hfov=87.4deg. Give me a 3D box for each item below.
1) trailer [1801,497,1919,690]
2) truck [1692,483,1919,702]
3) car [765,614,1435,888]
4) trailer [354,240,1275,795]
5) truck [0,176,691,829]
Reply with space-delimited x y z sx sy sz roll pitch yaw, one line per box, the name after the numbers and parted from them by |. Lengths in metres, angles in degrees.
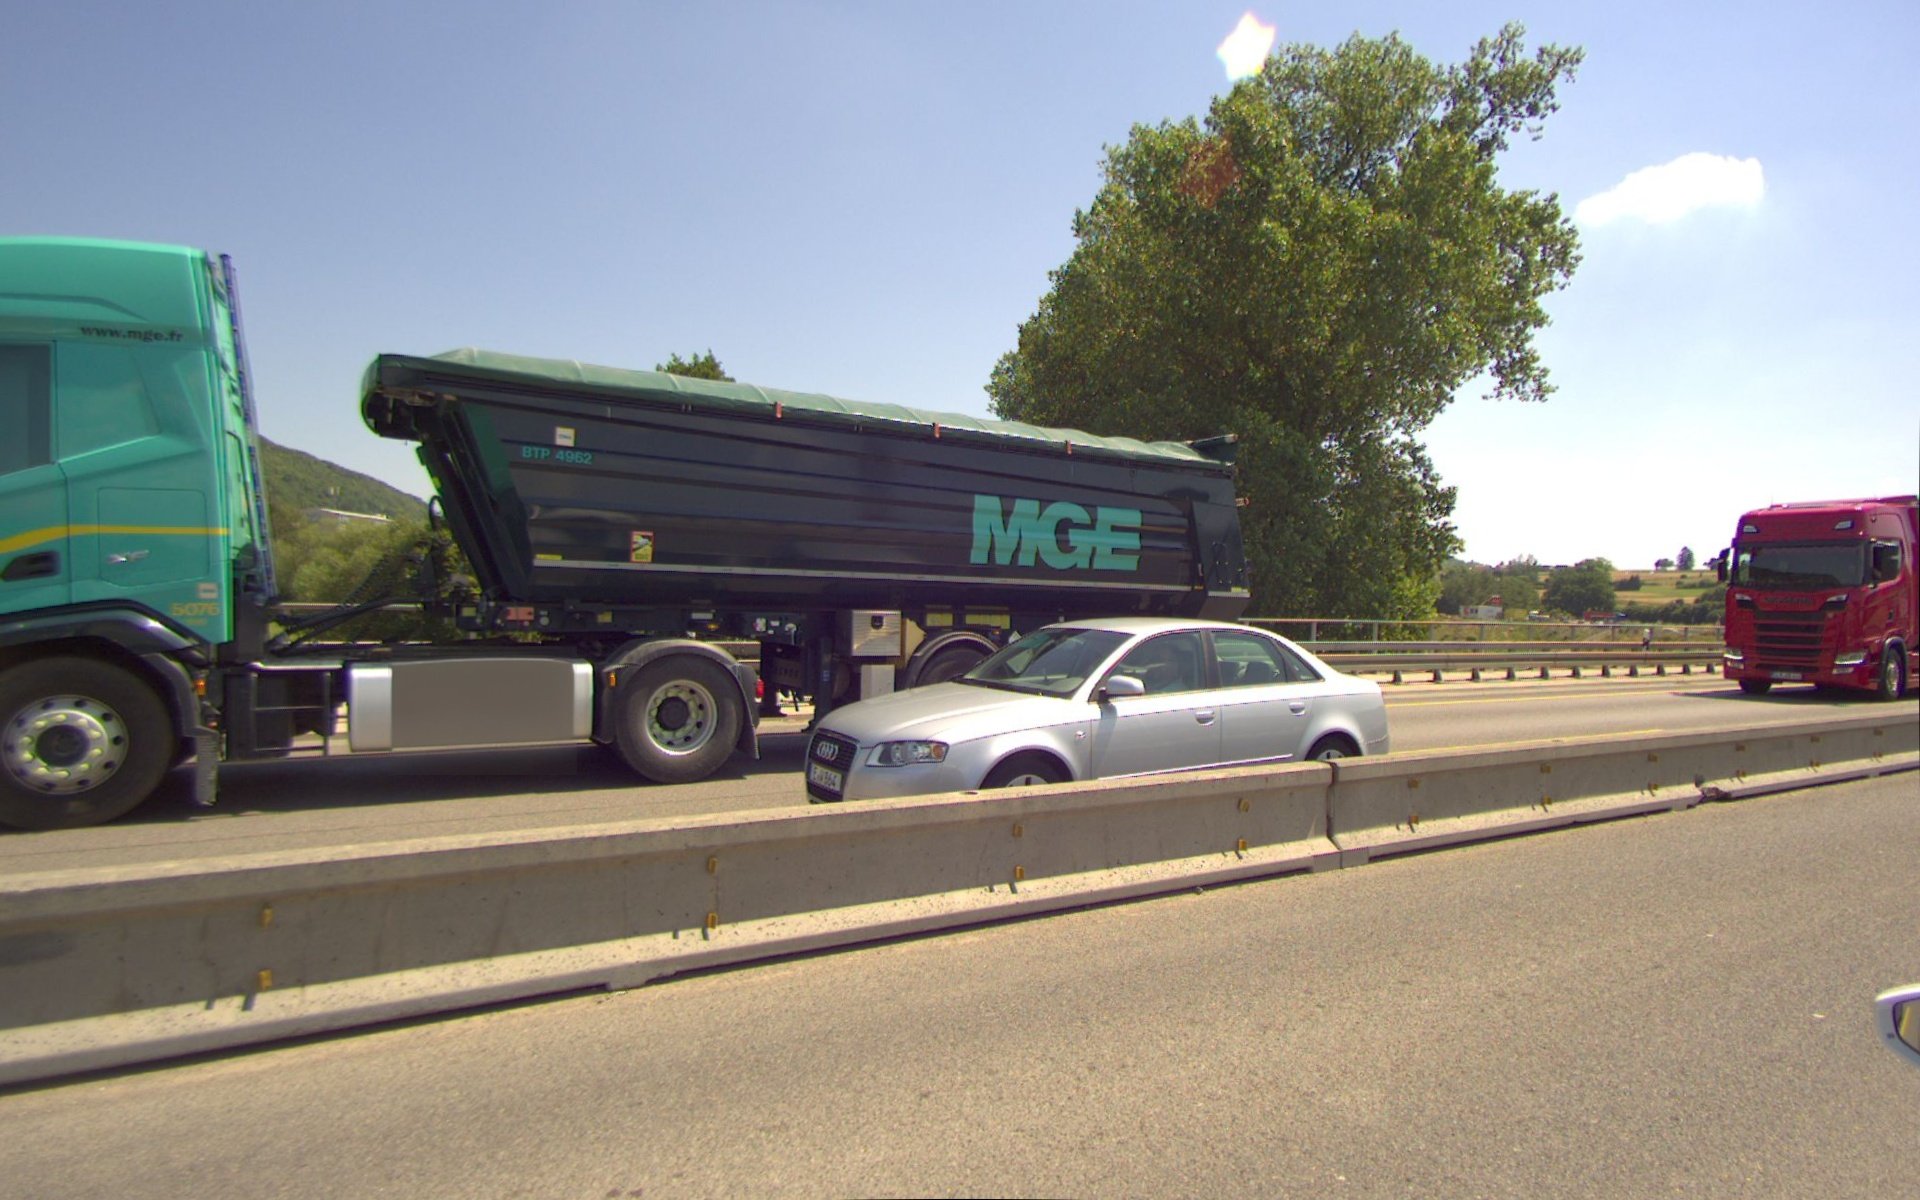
25.764 -0.093 25.618 11.658 4.232 2.793 1 0 -30 | trailer
18.995 -0.113 21.612 6.444 4.091 2.803 1 0 -30 | truck
1.147 0.837 7.120 4.658 1.398 1.772 1 -2 -32 | car
-0.949 -0.450 10.253 8.855 3.721 2.780 2 0 -31 | trailer
-5.121 -0.534 7.697 5.312 3.771 2.782 2 0 -31 | truck
